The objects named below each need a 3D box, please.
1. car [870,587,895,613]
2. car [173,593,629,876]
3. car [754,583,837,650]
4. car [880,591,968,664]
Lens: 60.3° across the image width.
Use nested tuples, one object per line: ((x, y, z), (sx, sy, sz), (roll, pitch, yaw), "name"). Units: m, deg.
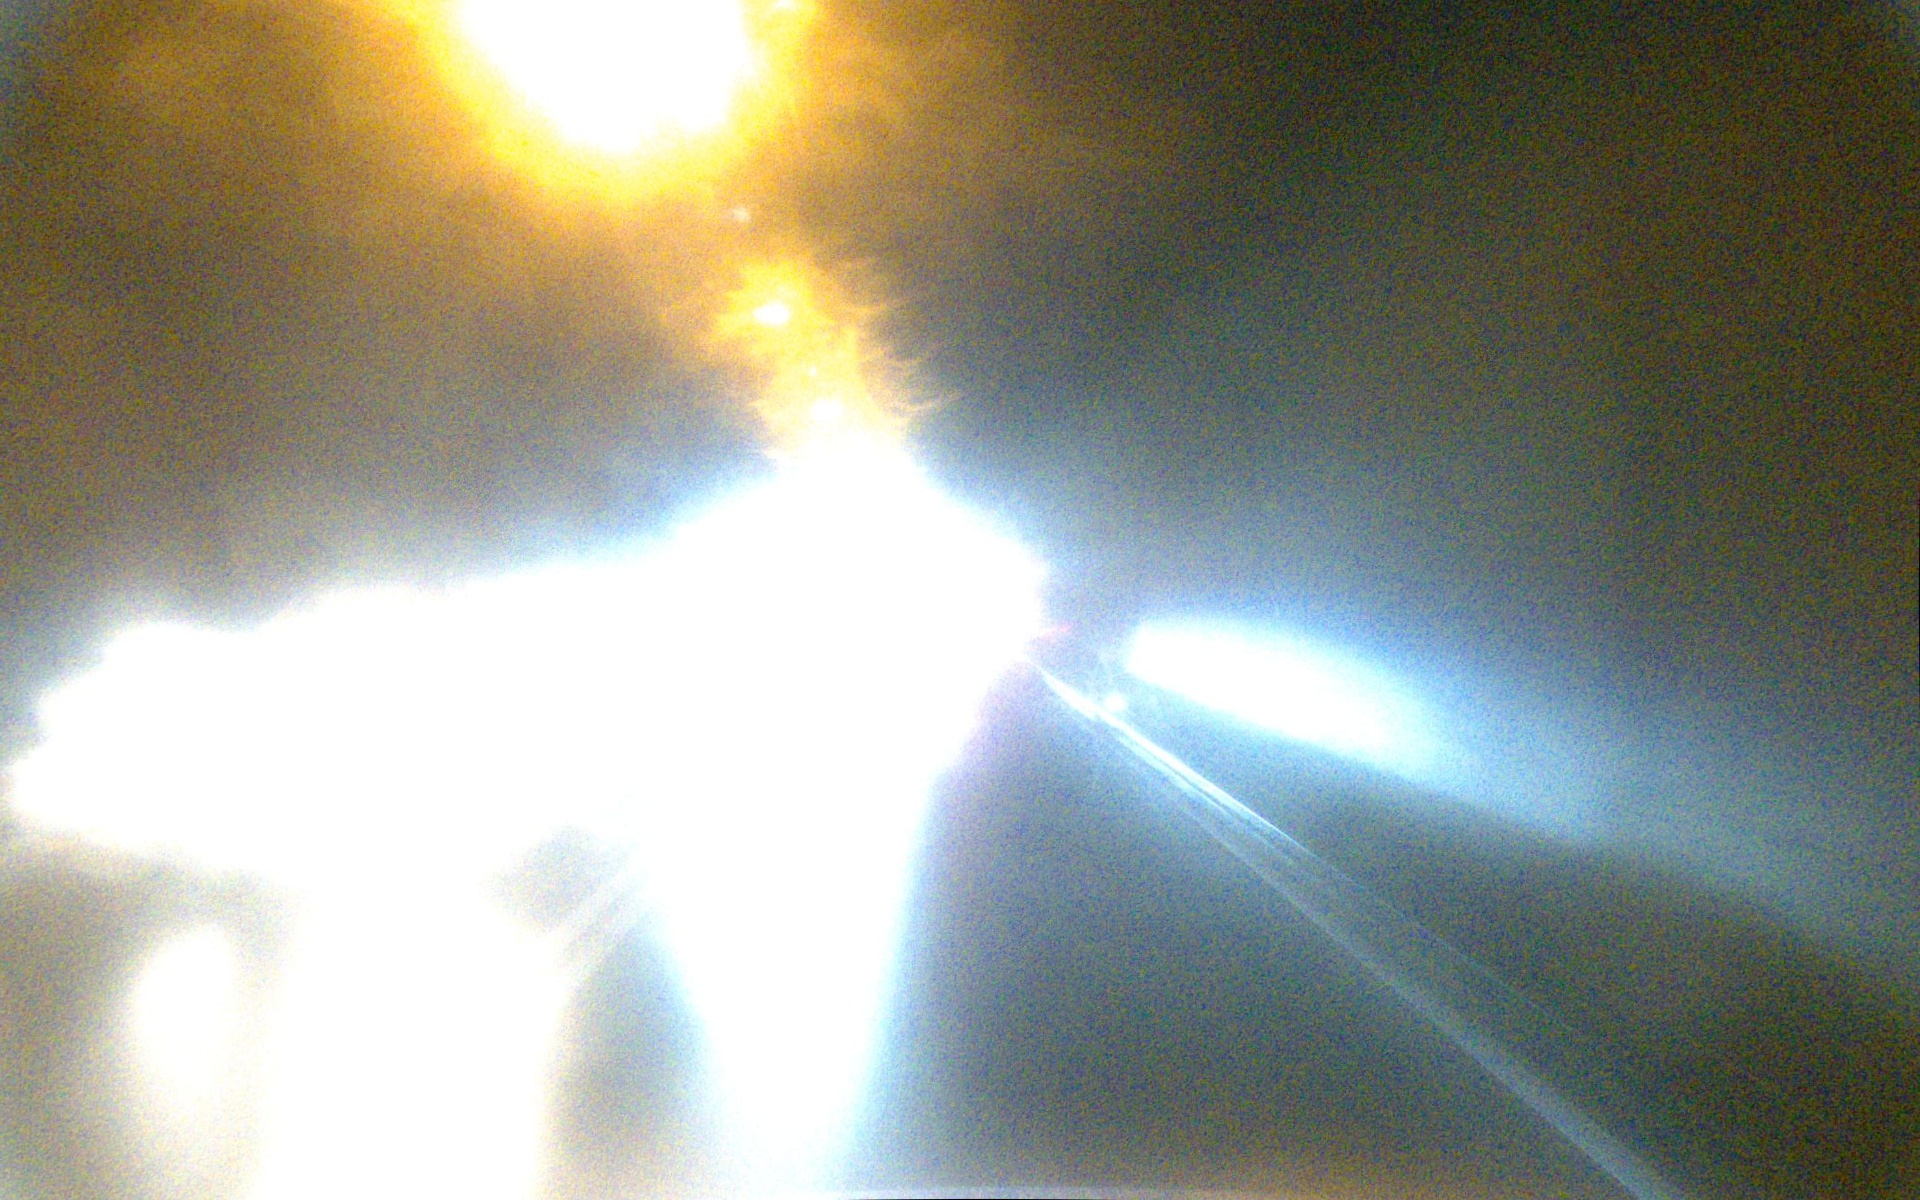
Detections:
((-6.294, 0.014, 135.060), (1.953, 2.049, 3.999), (1, 0, -1), "car")
((-3.231, 0.686, 10.302), (1.656, 1.447, 3.624), (0, 0, -1), "car")
((-4.558, 0.430, 46.333), (1.953, 1.739, 4.279), (1, 0, -1), "car")
((-0.884, 0.643, 40.798), (2.047, 1.691, 3.999), (1, 0, -1), "car")
